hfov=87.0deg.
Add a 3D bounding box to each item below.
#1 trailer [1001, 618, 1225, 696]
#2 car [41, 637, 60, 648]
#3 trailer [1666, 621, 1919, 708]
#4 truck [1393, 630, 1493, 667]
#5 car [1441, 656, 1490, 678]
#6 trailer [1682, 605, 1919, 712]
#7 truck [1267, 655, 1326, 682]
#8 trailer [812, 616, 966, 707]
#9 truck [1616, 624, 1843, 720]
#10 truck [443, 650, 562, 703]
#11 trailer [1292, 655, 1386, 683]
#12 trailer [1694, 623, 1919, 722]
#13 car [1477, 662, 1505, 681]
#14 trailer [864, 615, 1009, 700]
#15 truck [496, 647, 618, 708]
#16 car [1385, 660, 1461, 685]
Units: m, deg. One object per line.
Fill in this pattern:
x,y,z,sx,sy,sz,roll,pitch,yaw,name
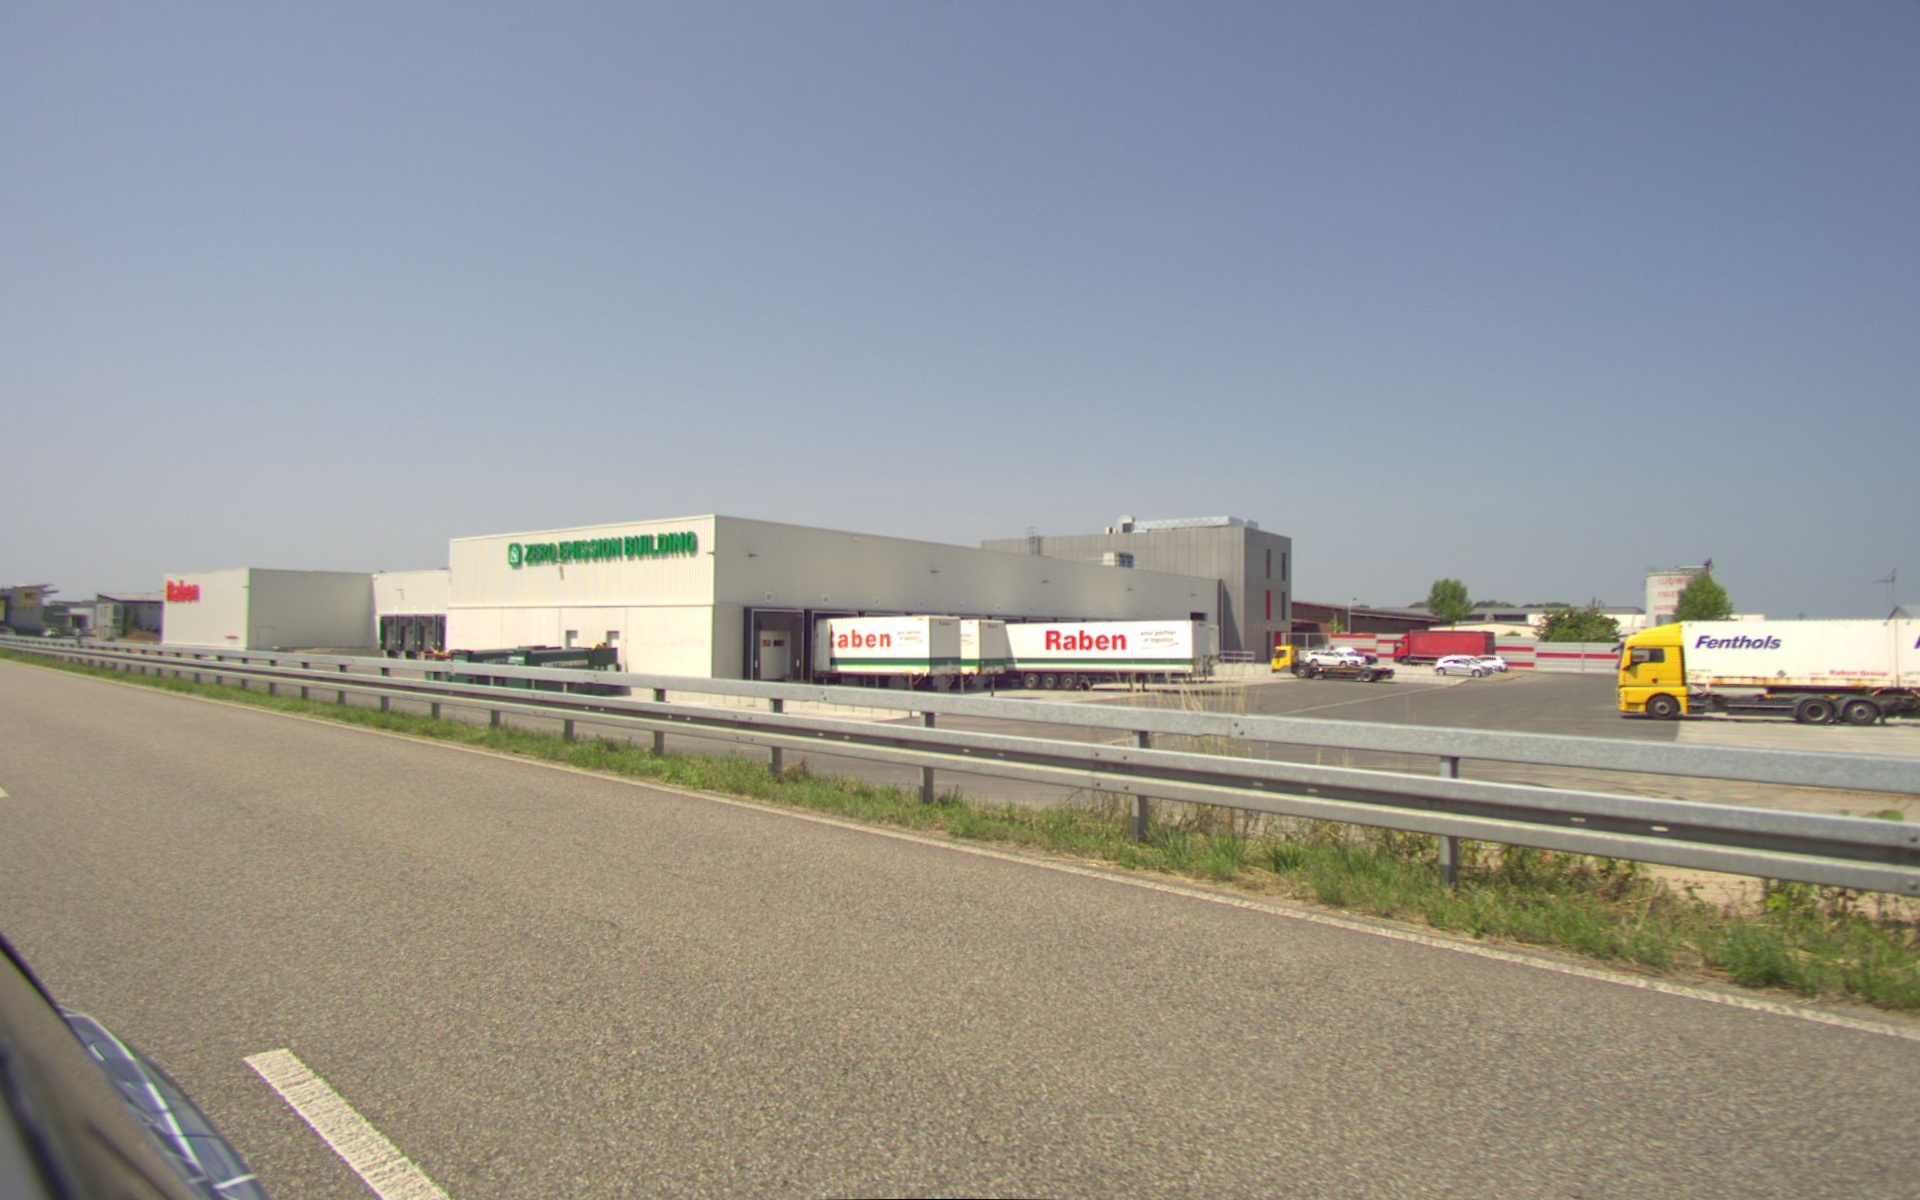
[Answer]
8.688,3.294,59.648,13.363,4.237,2.639,-2,-3,37,trailer
-144.832,6.748,161.165,3.306,1.686,1.536,-1,-3,36,car
40.511,2.869,45.683,14.053,3.719,2.631,-2,-2,37,trailer
47.657,4.809,100.241,1.968,3.534,8.904,5,-5,-40,truck
41.816,5.549,83.755,3.547,1.739,1.423,-1,-4,31,car
39.612,2.392,41.999,15.557,4.293,2.672,-2,-3,37,trailer
26.357,5.369,79.329,3.995,2.029,1.974,-2,-5,39,truck
-3.539,2.856,49.381,7.567,4.018,2.639,0,-1,37,trailer
30.130,2.761,40.058,6.830,3.537,2.350,-2,-2,32,truck
-22.712,3.721,50.419,2.231,2.351,4.956,-2,-2,41,truck
28.899,5.245,77.281,6.451,2.029,1.974,-2,-5,39,trailer
34.242,2.631,37.494,11.131,3.537,2.350,-2,-2,32,trailer
45.988,6.192,87.601,2.139,1.523,1.086,-1,-1,29,car
-1.330,2.901,52.565,7.569,4.124,2.638,-2,-3,38,trailer
-19.162,3.619,48.352,2.270,2.556,4.996,-1,-1,38,truck
35.507,5.553,77.688,5.075,1.823,1.976,-1,-4,36,car
